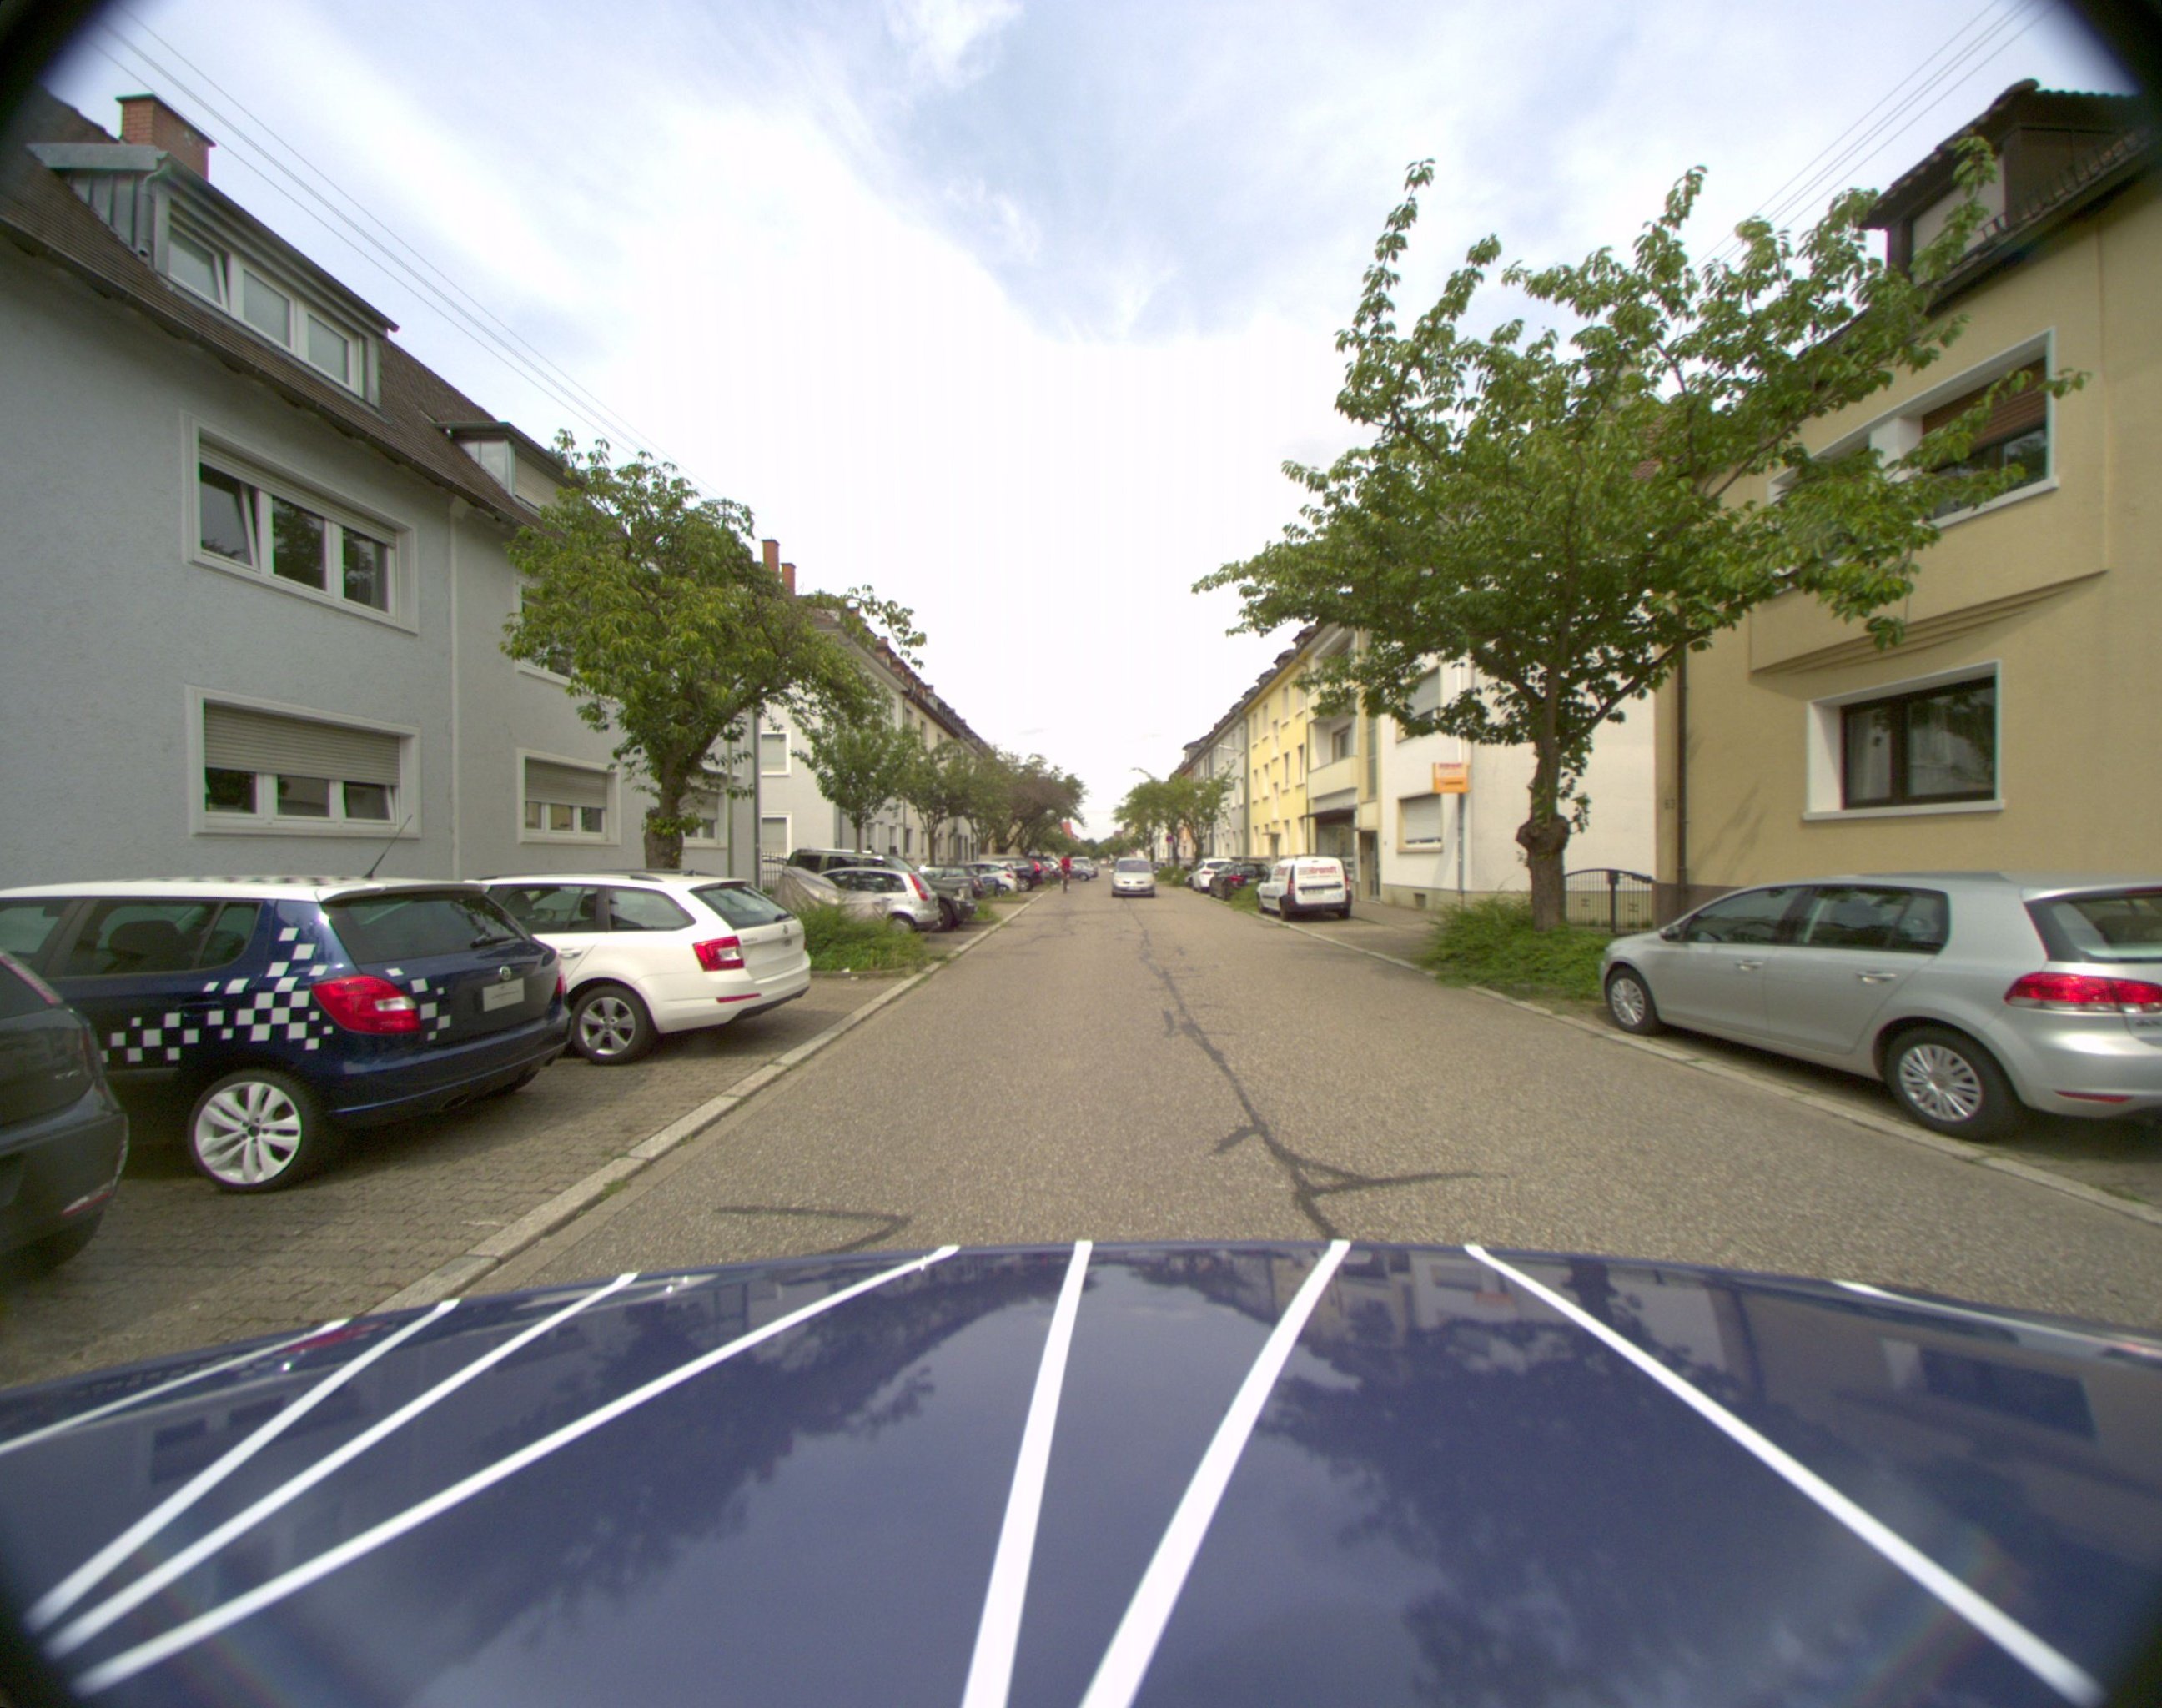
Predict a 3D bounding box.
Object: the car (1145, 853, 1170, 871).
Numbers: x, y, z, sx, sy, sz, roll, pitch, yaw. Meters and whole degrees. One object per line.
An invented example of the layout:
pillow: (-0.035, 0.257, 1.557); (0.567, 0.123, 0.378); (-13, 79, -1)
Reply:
car: (7.011, 0.707, 70.042); (1.841, 1.475, 4.120); (-3, 0, -1)

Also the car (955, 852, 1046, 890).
car: (-3.973, 0.815, 37.943); (4.224, 1.725, 1.904); (1, 0, 4)

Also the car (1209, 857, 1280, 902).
car: (6.141, 0.921, 29.109); (1.795, 1.483, 4.812); (-1, 1, 2)

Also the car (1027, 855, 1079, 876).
car: (-2.175, 0.906, 60.372); (3.997, 1.527, 1.638); (1, 0, 1)

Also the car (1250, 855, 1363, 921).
car: (6.082, 0.847, 21.076); (1.923, 1.572, 4.382); (1, 0, 2)

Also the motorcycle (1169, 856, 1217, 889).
motorcycle: (5.868, 0.952, 39.840); (0.941, 1.666, 2.467); (1, -1, -42)

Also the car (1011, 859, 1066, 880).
car: (-3.214, 1.156, 58.048); (3.997, 1.446, 1.766); (1, 0, 1)

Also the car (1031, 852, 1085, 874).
car: (-2.301, 0.883, 74.848); (5.244, 2.011, 2.073); (1, 0, -3)

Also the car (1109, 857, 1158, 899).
car: (2.129, 0.955, 31.925); (1.788, 1.595, 4.836); (-1, 0, 1)

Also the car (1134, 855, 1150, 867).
car: (8.185, 0.922, 102.009); (1.697, 1.573, 4.249); (-1, 0, 0)

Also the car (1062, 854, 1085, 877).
car: (-0.708, 1.016, 70.056); (1.999, 1.903, 4.703); (-2, 0, -1)

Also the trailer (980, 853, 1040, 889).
trailer: (-3.767, 0.879, 40.642); (2.967, 1.820, 1.401); (1, 0, 5)

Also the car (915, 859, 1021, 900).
car: (-4.524, 1.005, 30.824); (3.997, 1.521, 1.768); (1, 0, -2)

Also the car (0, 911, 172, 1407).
car: (-5.361, 0.927, 1.978); (3.996, 1.499, 1.712); (1, 0, 1)

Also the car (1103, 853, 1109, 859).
car: (8.628, 0.768, 262.070); (1.757, 2.098, 3.621); (1, 0, 1)

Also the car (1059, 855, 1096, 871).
car: (-0.437, 1.126, 98.425); (4.750, 1.899, 1.850); (1, 0, 1)

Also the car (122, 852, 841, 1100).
car: (-4.663, 0.867, 6.422); (4.625, 1.654, 1.893); (1, 0, 2)

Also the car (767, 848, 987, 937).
car: (-4.613, 0.837, 17.591); (4.535, 1.847, 1.793); (1, 0, 4)

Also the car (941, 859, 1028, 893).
car: (-4.461, 0.997, 35.658); (3.756, 1.433, 1.865); (1, 0, 2)

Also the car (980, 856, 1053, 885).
car: (-3.852, 0.979, 46.043); (4.226, 1.588, 1.903); (1, 0, -1)

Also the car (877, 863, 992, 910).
car: (-4.942, 1.080, 25.955); (3.552, 1.444, 1.809); (1, 0, 1)

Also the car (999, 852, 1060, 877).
car: (-3.757, 0.772, 55.833); (4.224, 1.668, 1.904); (1, 0, 4)

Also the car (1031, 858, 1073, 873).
car: (-3.172, 1.250, 84.255); (4.559, 1.501, 1.850); (1, 0, -1)

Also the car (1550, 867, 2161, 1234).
car: (5.603, 0.918, 5.503); (1.776, 1.384, 4.275); (-6, 0, 2)

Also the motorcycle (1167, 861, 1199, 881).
motorcycle: (6.314, 1.049, 47.181); (1.914, 1.185, 0.595); (1, 1, -25)

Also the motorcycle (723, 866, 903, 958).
motorcycle: (-4.518, 0.960, 13.015); (2.708, 1.455, 1.031); (0, 0, -3)

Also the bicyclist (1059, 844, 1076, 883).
bicyclist: (-0.637, 0.446, 35.799); (0.694, 1.760, 0.986); (-1, 0, 1)

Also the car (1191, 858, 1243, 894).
car: (6.313, 0.974, 35.626); (1.761, 1.547, 4.256); (0, 0, 1)

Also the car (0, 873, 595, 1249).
car: (-5.240, 0.927, 4.207); (3.996, 1.499, 1.712); (1, 0, 1)

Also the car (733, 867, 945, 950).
car: (-4.647, 1.032, 15.022); (3.635, 1.446, 1.772); (1, 0, -3)

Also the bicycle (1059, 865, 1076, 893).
bicycle: (-0.620, 1.173, 35.822); (0.693, 1.220, 1.937); (-1, 0, 1)

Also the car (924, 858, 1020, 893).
car: (-4.737, 0.925, 33.492); (3.997, 1.402, 1.768); (1, 0, -2)
